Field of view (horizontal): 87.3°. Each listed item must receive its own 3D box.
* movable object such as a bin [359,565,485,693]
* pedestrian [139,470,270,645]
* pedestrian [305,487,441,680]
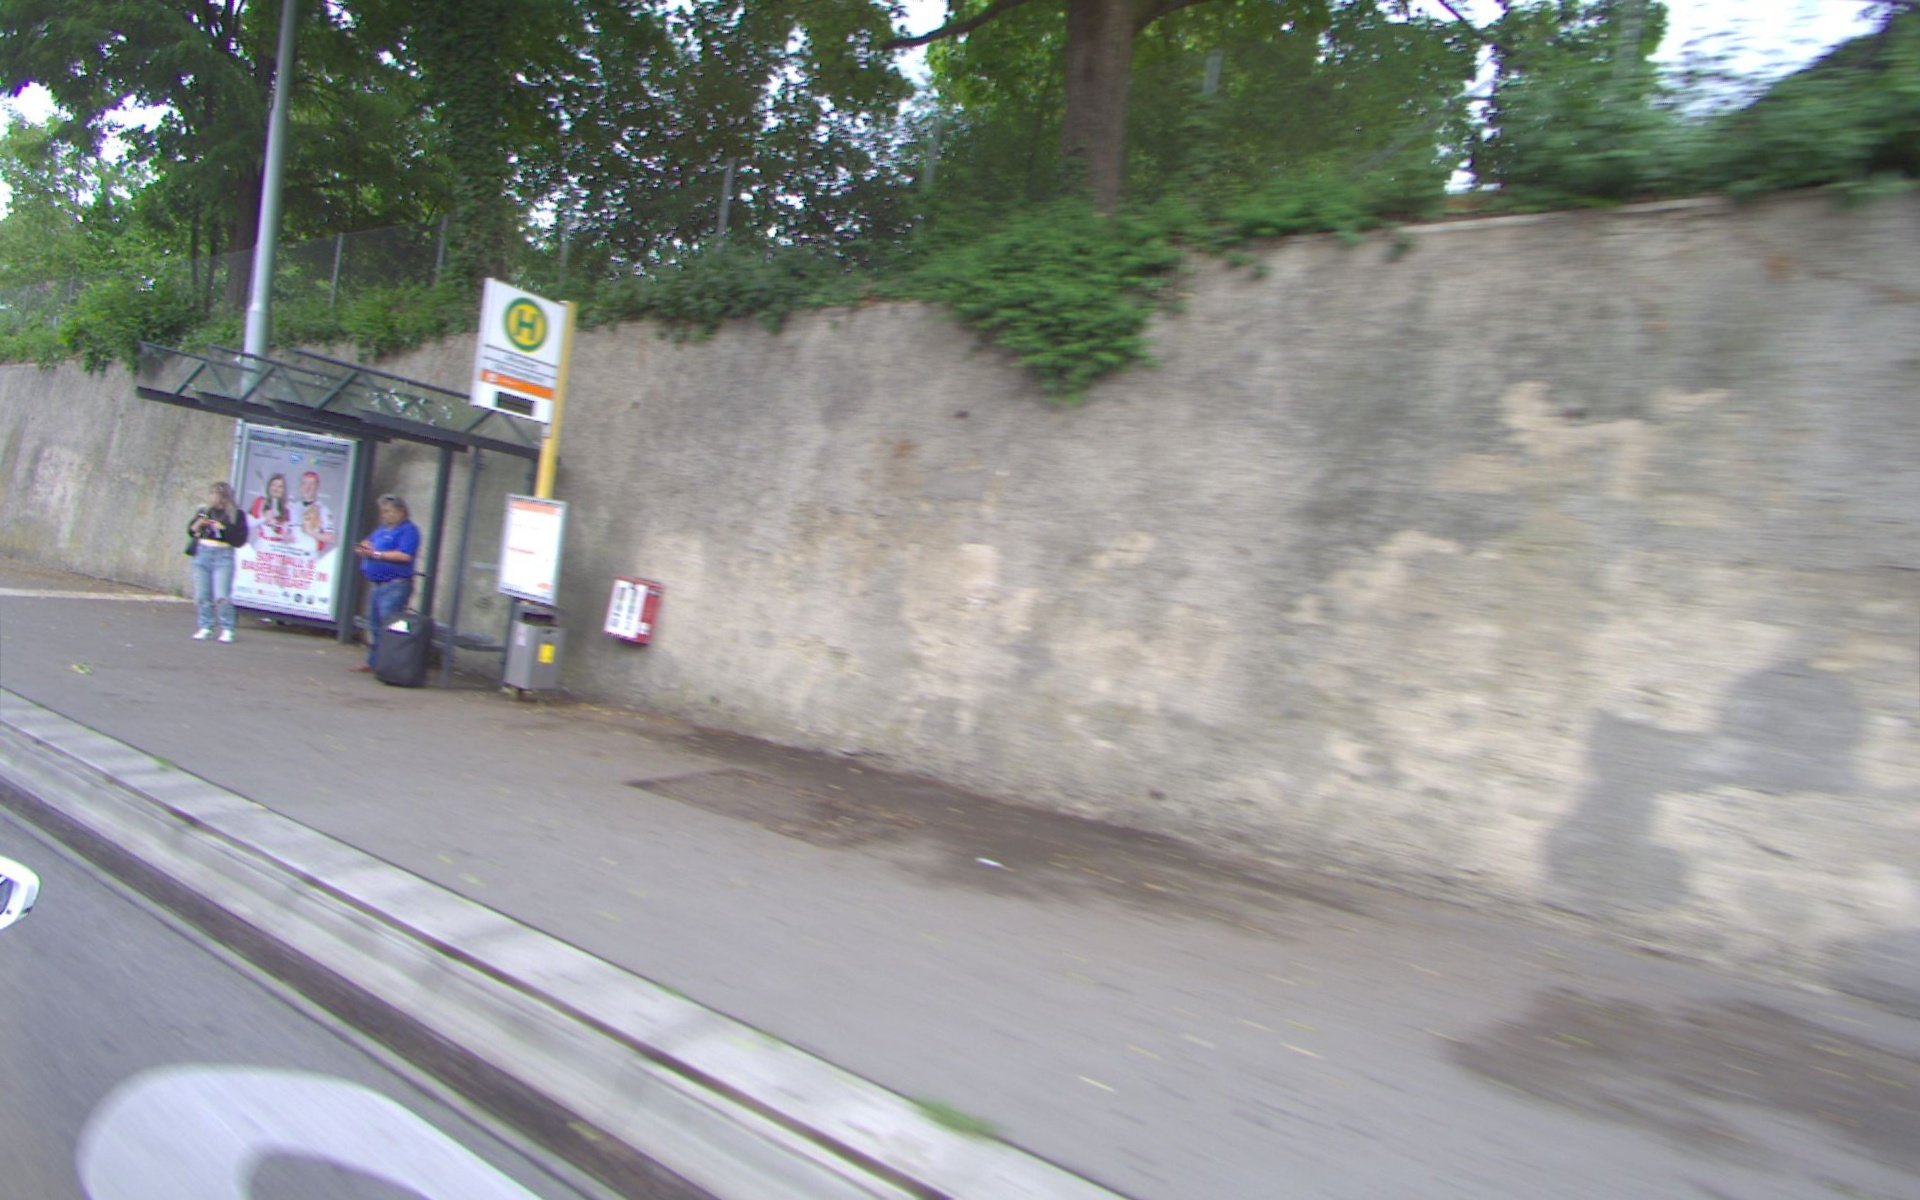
[{"bbox_3d":[-4.813,0.262,9.020,0.616,1.033,0.676,8,1,27],"label":"movable object such as a bin"},{"bbox_3d":[-7.556,-0.421,10.101,0.726,1.609,0.770,6,2,-17],"label":"pedestrian"},{"bbox_3d":[-5.387,-0.134,9.251,0.620,1.663,0.722,7,1,27],"label":"pedestrian"}]
